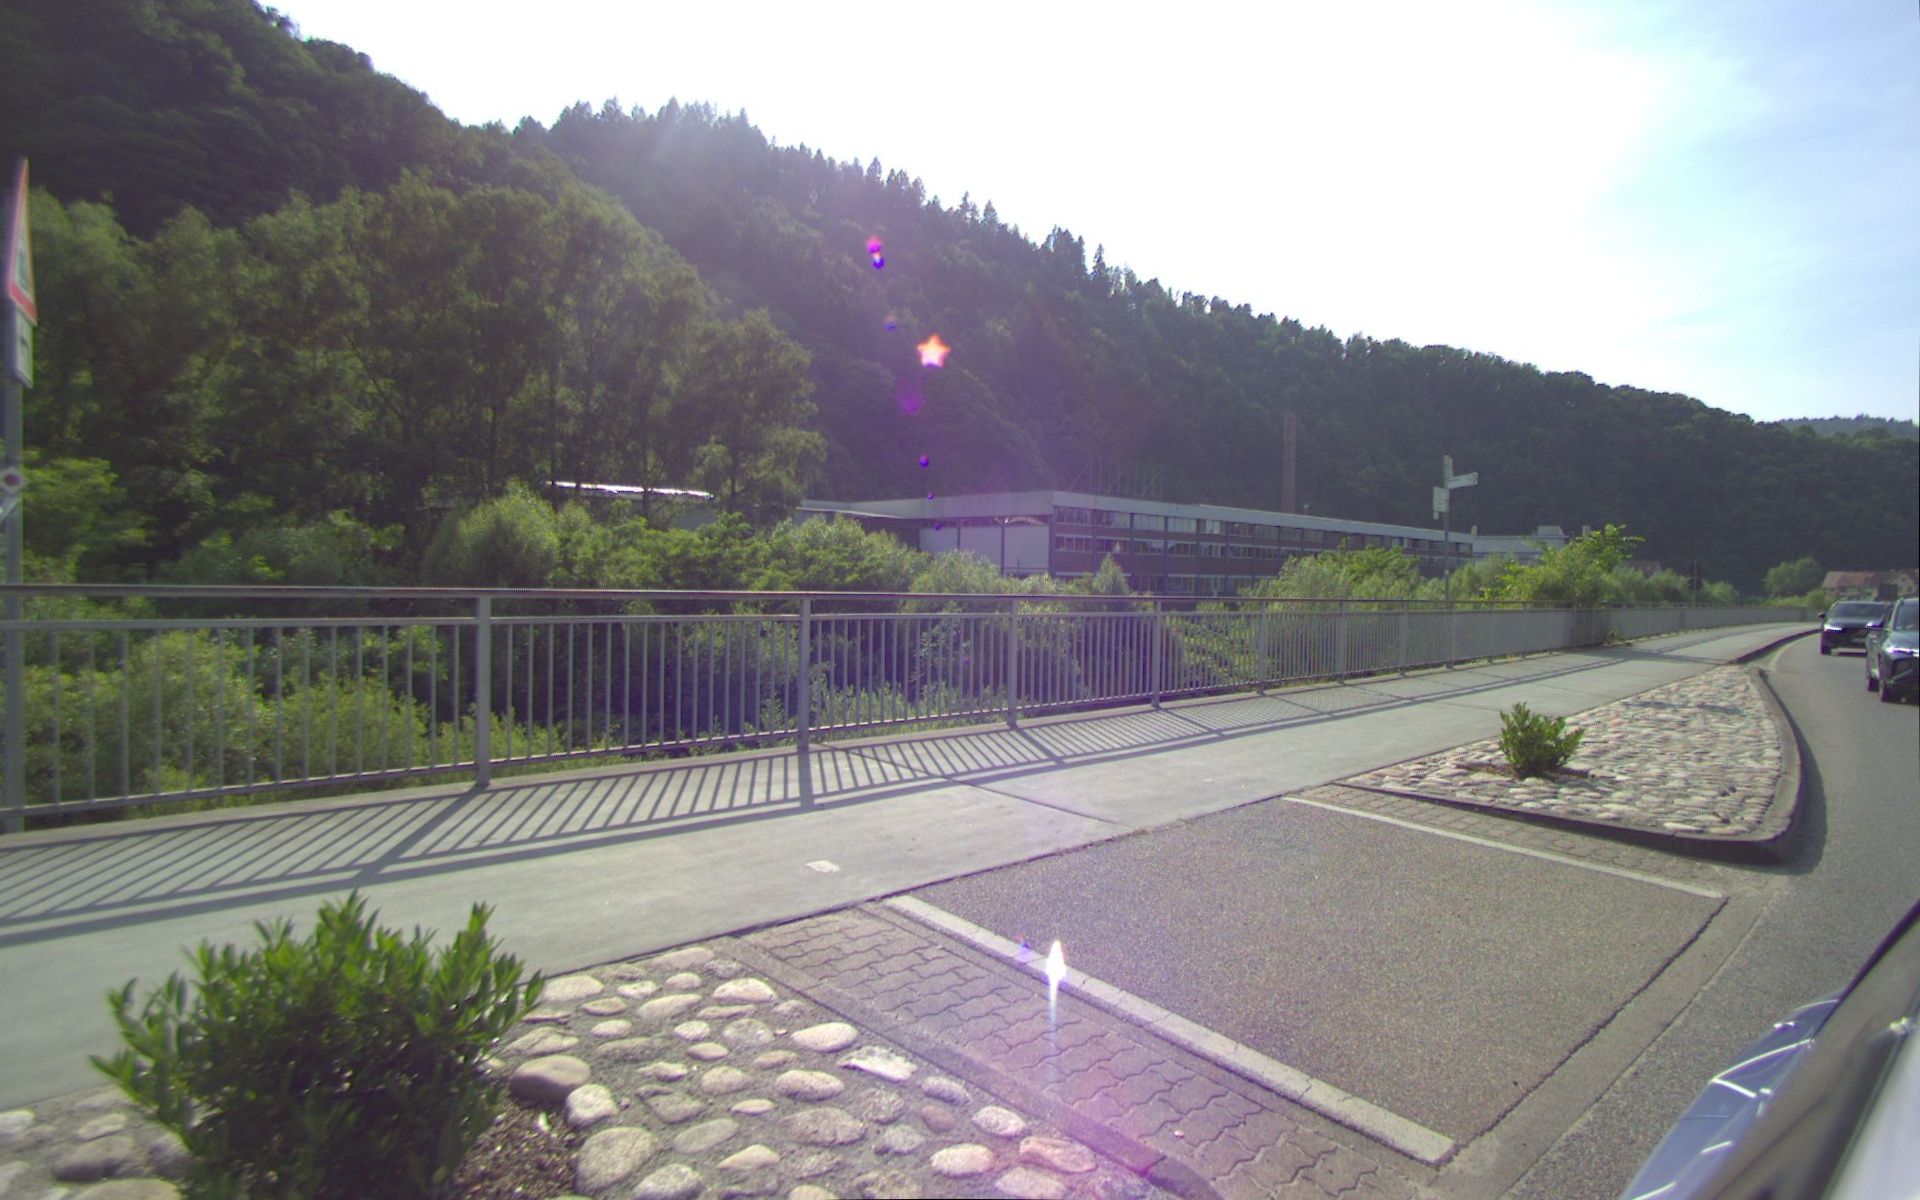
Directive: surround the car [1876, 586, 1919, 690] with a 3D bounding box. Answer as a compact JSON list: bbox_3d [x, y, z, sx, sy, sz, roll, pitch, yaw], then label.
[{"bbox_3d":[17.025,0.603,17.452,1.642,1.670,3.942,0,0,40],"label":"car"}]
